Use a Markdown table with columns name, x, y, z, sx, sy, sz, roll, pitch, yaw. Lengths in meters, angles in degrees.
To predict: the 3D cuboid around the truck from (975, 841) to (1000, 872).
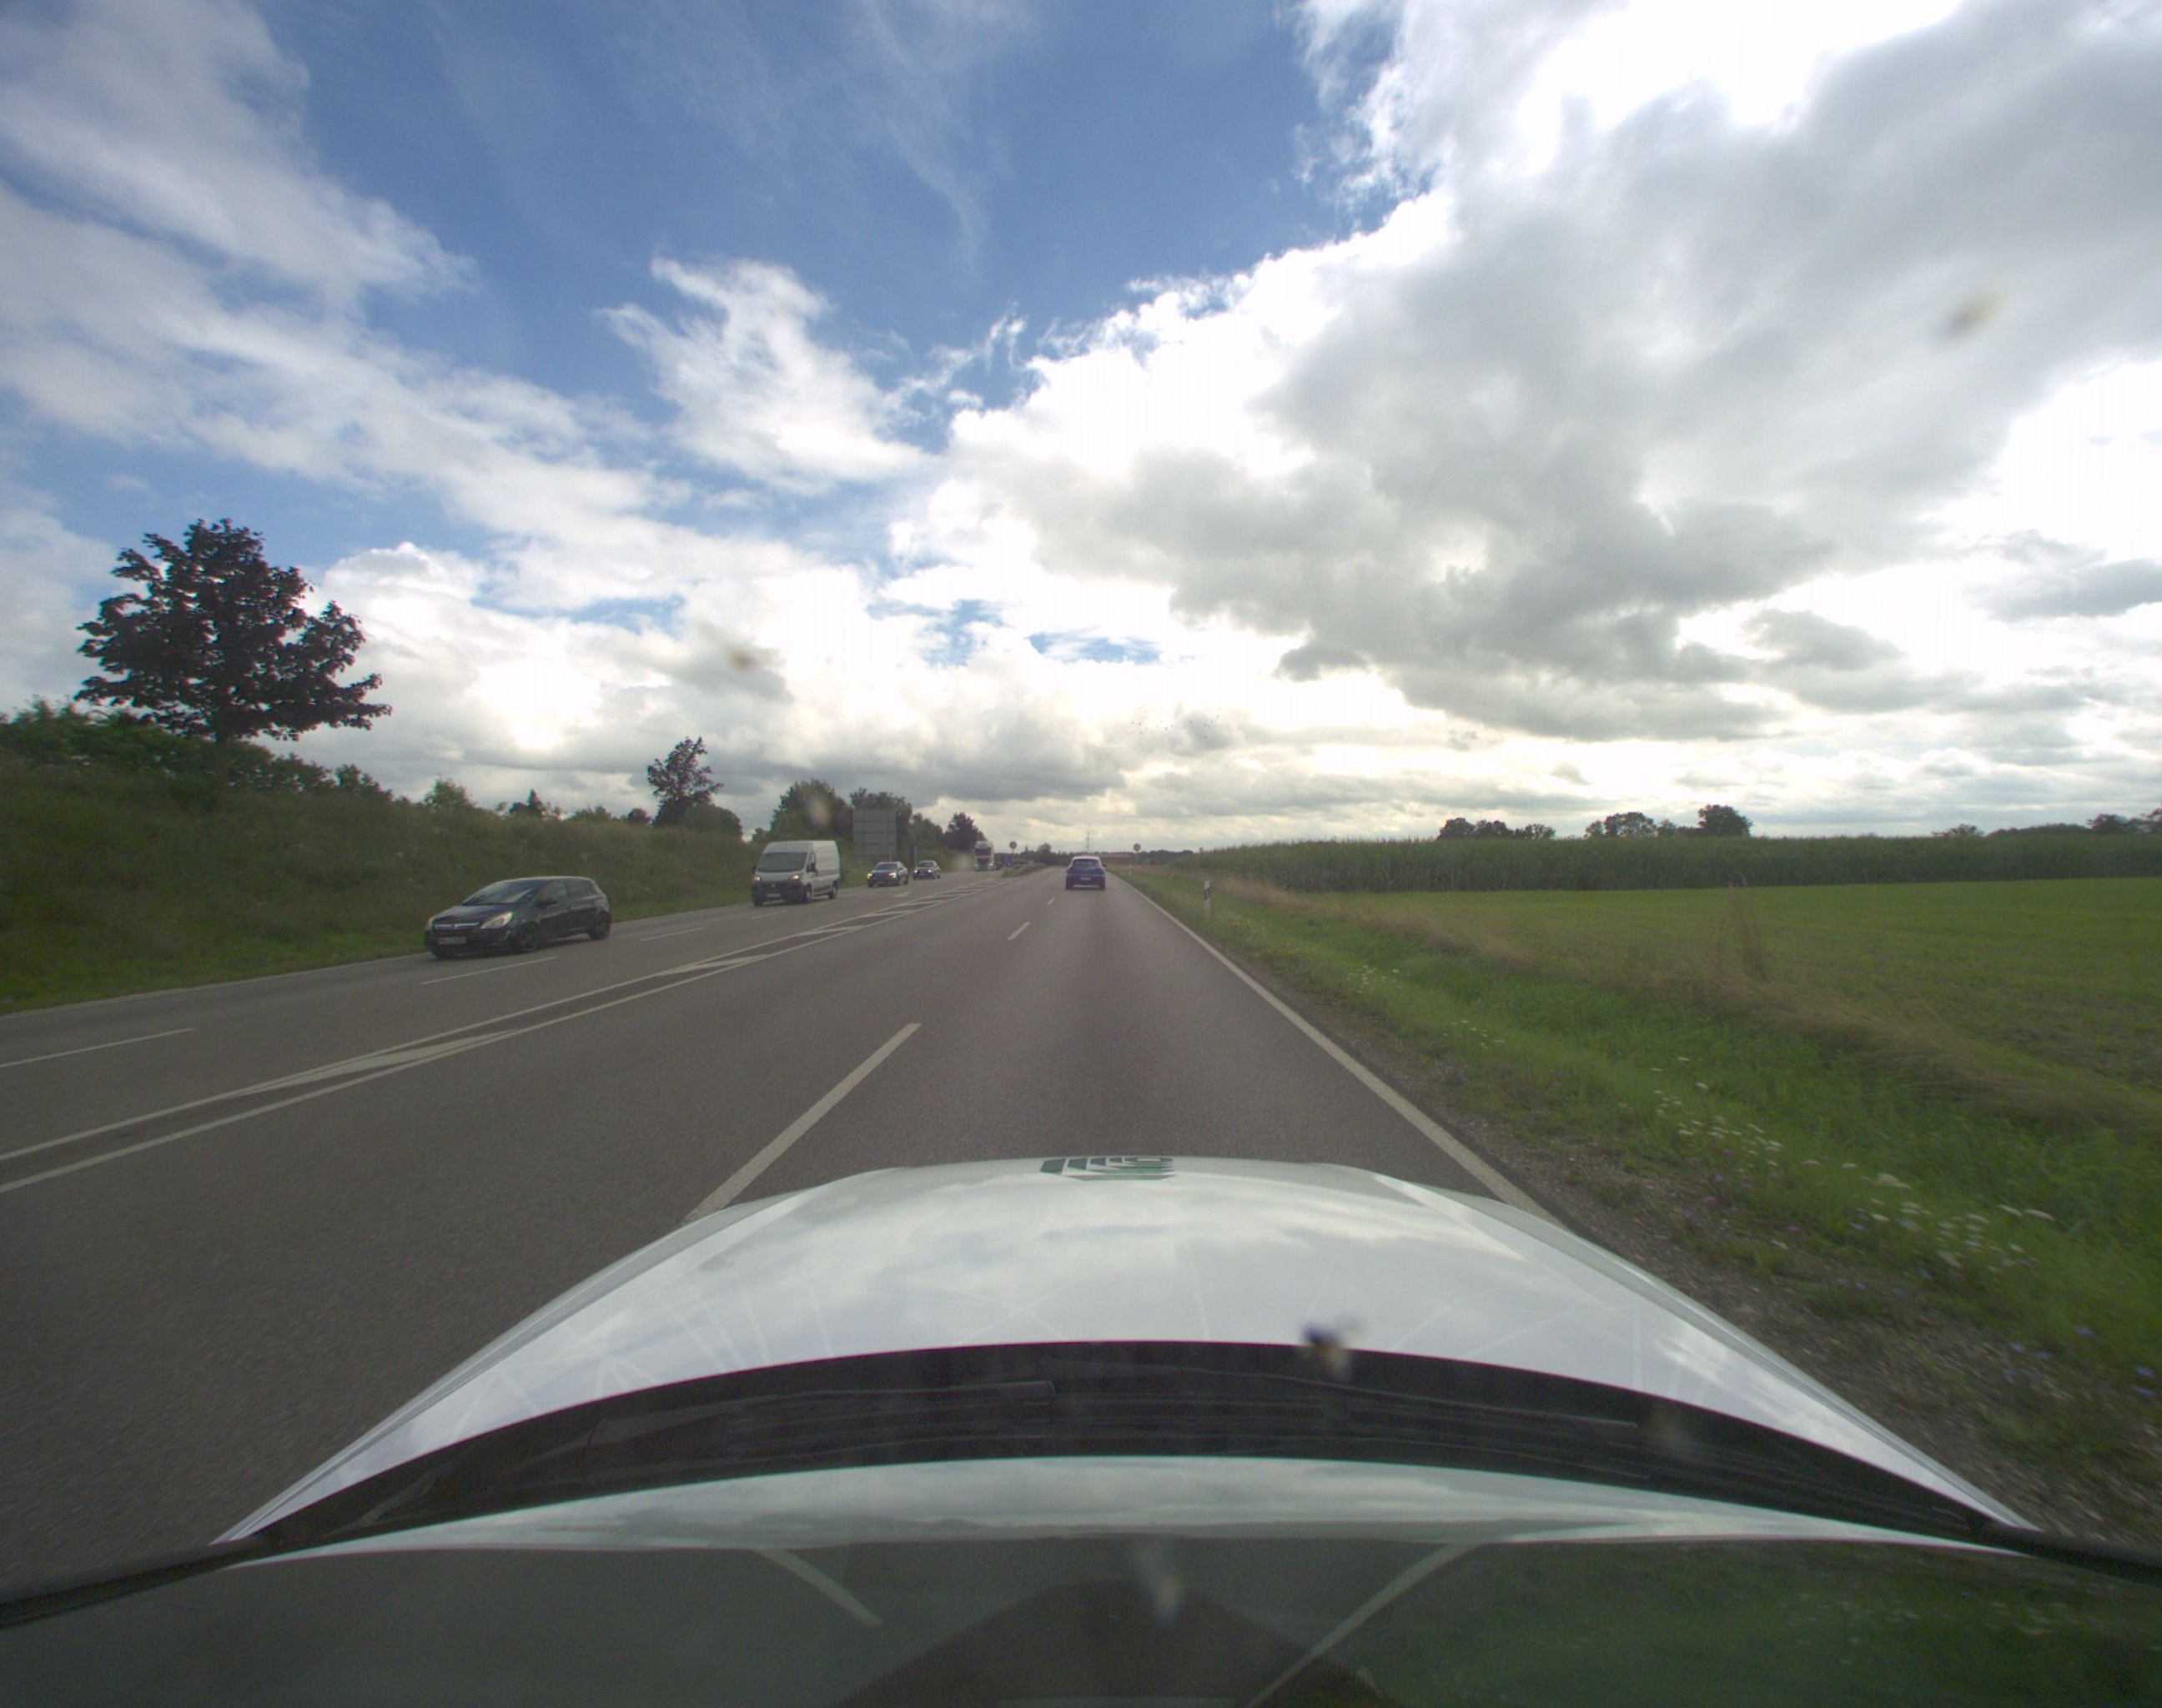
| name | x | y | z | sx | sy | sz | roll | pitch | yaw |
| --- | --- | --- | --- | --- | --- | --- | --- | --- | --- |
| truck | -12.423 | 0.262 | 108.616 | 2.794 | 3.997 | 5.285 | 0 | 0 | -1 |

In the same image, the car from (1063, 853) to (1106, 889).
| name | x | y | z | sx | sy | sz | roll | pitch | yaw |
| --- | --- | --- | --- | --- | --- | --- | --- | --- | --- |
| car | 0.125 | 0.816 | 40.696 | 2.027 | 1.660 | 4.541 | 1 | 0 | -1 |

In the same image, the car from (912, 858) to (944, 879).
| name | x | y | z | sx | sy | sz | roll | pitch | yaw |
| --- | --- | --- | --- | --- | --- | --- | --- | --- | --- |
| car | -11.980 | 1.123 | 63.875 | 1.727 | 1.530 | 4.192 | -2 | 0 | -1 |

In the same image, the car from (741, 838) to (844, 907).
| name | x | y | z | sx | sy | sz | roll | pitch | yaw |
| --- | --- | --- | --- | --- | --- | --- | --- | --- | --- |
| car | -11.274 | 0.653 | 32.338 | 2.027 | 2.439 | 5.633 | -2 | 0 | -1 |

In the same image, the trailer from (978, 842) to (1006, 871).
| name | x | y | z | sx | sy | sz | roll | pitch | yaw |
| --- | --- | --- | --- | --- | --- | --- | --- | --- | --- |
| trailer | -12.543 | 0.269 | 116.214 | 2.767 | 3.947 | 12.979 | 0 | 0 | -1 |

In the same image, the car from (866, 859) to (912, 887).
| name | x | y | z | sx | sy | sz | roll | pitch | yaw |
| --- | --- | --- | --- | --- | --- | --- | --- | --- | --- |
| car | -11.682 | 1.117 | 49.798 | 1.727 | 1.530 | 4.547 | -2 | 0 | -1 |

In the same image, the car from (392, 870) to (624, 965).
| name | x | y | z | sx | sy | sz | roll | pitch | yaw |
| --- | --- | --- | --- | --- | --- | --- | --- | --- | --- |
| car | -11.348 | 1.166 | 16.550 | 1.727 | 1.530 | 4.192 | -2 | 0 | -1 |
